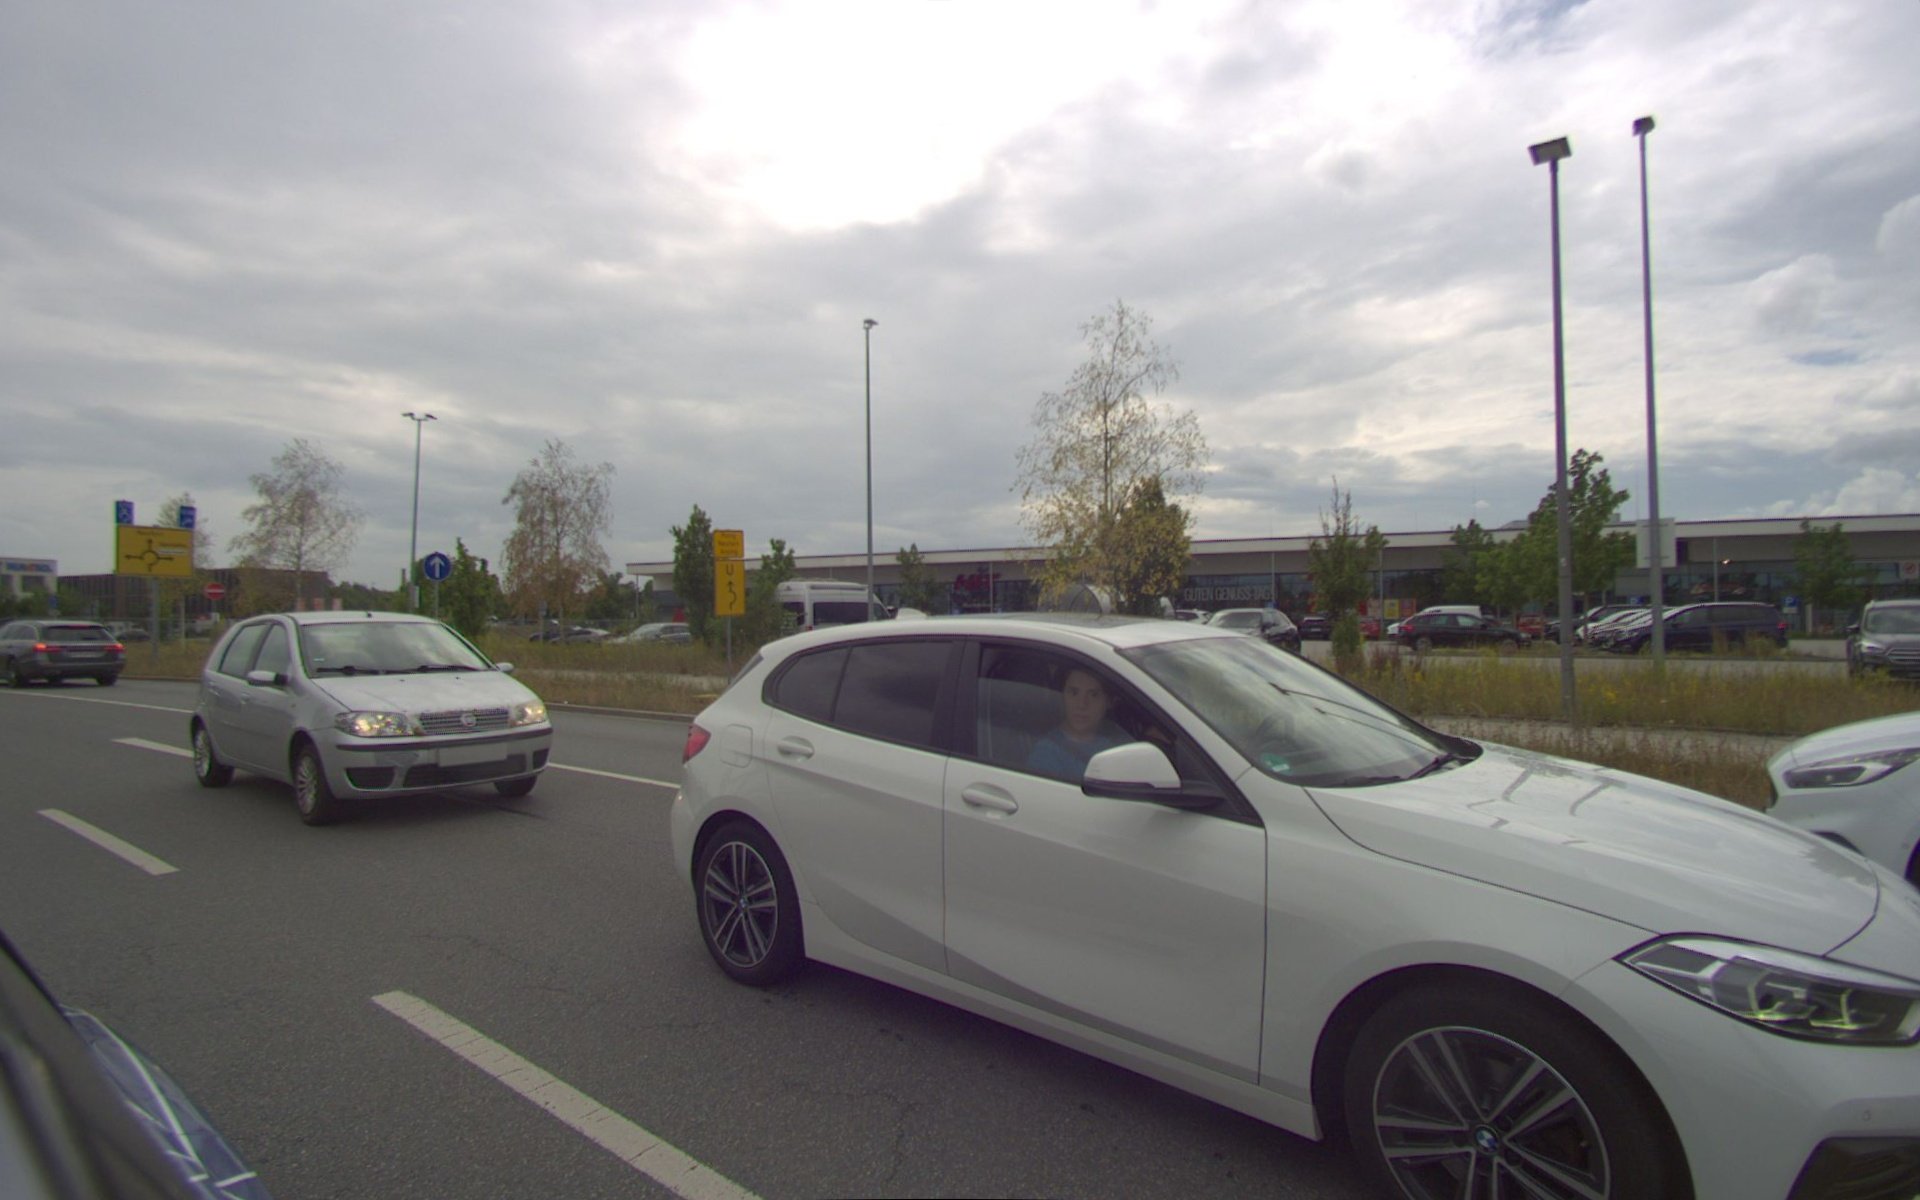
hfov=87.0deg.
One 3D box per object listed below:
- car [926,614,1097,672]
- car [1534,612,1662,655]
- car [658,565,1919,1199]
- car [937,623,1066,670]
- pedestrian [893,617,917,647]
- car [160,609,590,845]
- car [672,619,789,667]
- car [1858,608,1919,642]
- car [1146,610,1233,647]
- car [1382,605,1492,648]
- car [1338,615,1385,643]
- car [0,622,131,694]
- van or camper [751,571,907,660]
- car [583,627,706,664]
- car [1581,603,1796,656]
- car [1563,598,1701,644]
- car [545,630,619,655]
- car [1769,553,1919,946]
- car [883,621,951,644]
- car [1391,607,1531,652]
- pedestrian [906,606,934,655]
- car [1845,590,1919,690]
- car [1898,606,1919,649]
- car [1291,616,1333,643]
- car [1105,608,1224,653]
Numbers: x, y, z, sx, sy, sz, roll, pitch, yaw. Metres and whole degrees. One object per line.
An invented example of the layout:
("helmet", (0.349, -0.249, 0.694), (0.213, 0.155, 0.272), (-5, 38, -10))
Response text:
("car", (1.293, 0.983, 24.187), (2.011, 1.269, 4.037), (-2, -2, 42))
("car", (25.816, 1.365, 41.112), (3.964, 1.697, 1.829), (-1, -1, 16))
("car", (0.911, 0.711, 3.511), (4.192, 1.480, 1.860), (-1, -1, 42))
("car", (1.377, 1.412, 31.724), (2.007, 1.314, 4.286), (-2, -2, 36))
("pedestrian", (-2.997, 1.774, 55.559), (1.241, 1.619, 0.889), (-1, -2, 3))
("car", (-4.846, 0.841, 8.167), (4.028, 1.449, 1.685), (-2, -2, 39))
("car", (-8.477, 1.555, 37.592), (2.080, 1.646, 3.910), (-2, -2, 34))
("car", (46.050, 1.198, 49.481), (2.073, 1.619, 3.967), (-1, -2, 24))
("car", (11.380, 1.417, 50.155), (3.971, 1.785, 1.873), (-1, -2, 21))
("car", (21.728, 1.221, 46.292), (4.274, 1.888, 2.229), (-1, -2, 20))
("car", (22.644, 1.613, 57.178), (1.986, 1.493, 4.031), (-1, -1, 15))
("car", (-20.873, 1.270, 22.961), (4.752, 1.501, 1.771), (-1, -2, 32))
("van or camper", (-4.412, 0.557, 35.228), (2.236, 2.821, 5.807), (-1, -1, 32))
("car", (-12.713, 1.798, 41.013), (2.134, 1.377, 4.533), (-2, -2, 31))
("car", (22.271, 0.897, 31.231), (5.079, 1.530, 1.982), (-1, -1, 27))
("car", (25.687, 0.819, 38.834), (3.964, 1.697, 1.829), (-1, -1, 16))
("car", (-23.590, 2.650, 63.192), (4.165, 1.463, 1.819), (-1, -2, 21))
("car", (6.086, 0.632, 3.772), (4.701, 1.649, 1.972), (-1, -3, 42))
("car", (-2.773, 2.119, 65.755), (3.981, 1.453, 1.981), (-1, -2, 28))
("car", (17.643, 1.049, 35.846), (4.163, 1.530, 1.987), (-1, -1, 19))
("pedestrian", (-1.594, 1.218, 40.155), (1.097, 1.904, 1.011), (-1, -2, -2))
("car", (17.486, 0.680, 18.277), (2.078, 1.667, 4.257), (-2, -2, 39))
("car", (37.421, 0.987, 37.060), (3.971, 1.557, 1.986), (-1, -2, 21))
("car", (19.949, 1.652, 57.471), (1.986, 1.493, 4.031), (-1, -1, 15))
("car", (9.147, 1.388, 45.307), (4.897, 1.914, 2.141), (-1, -2, 25))
